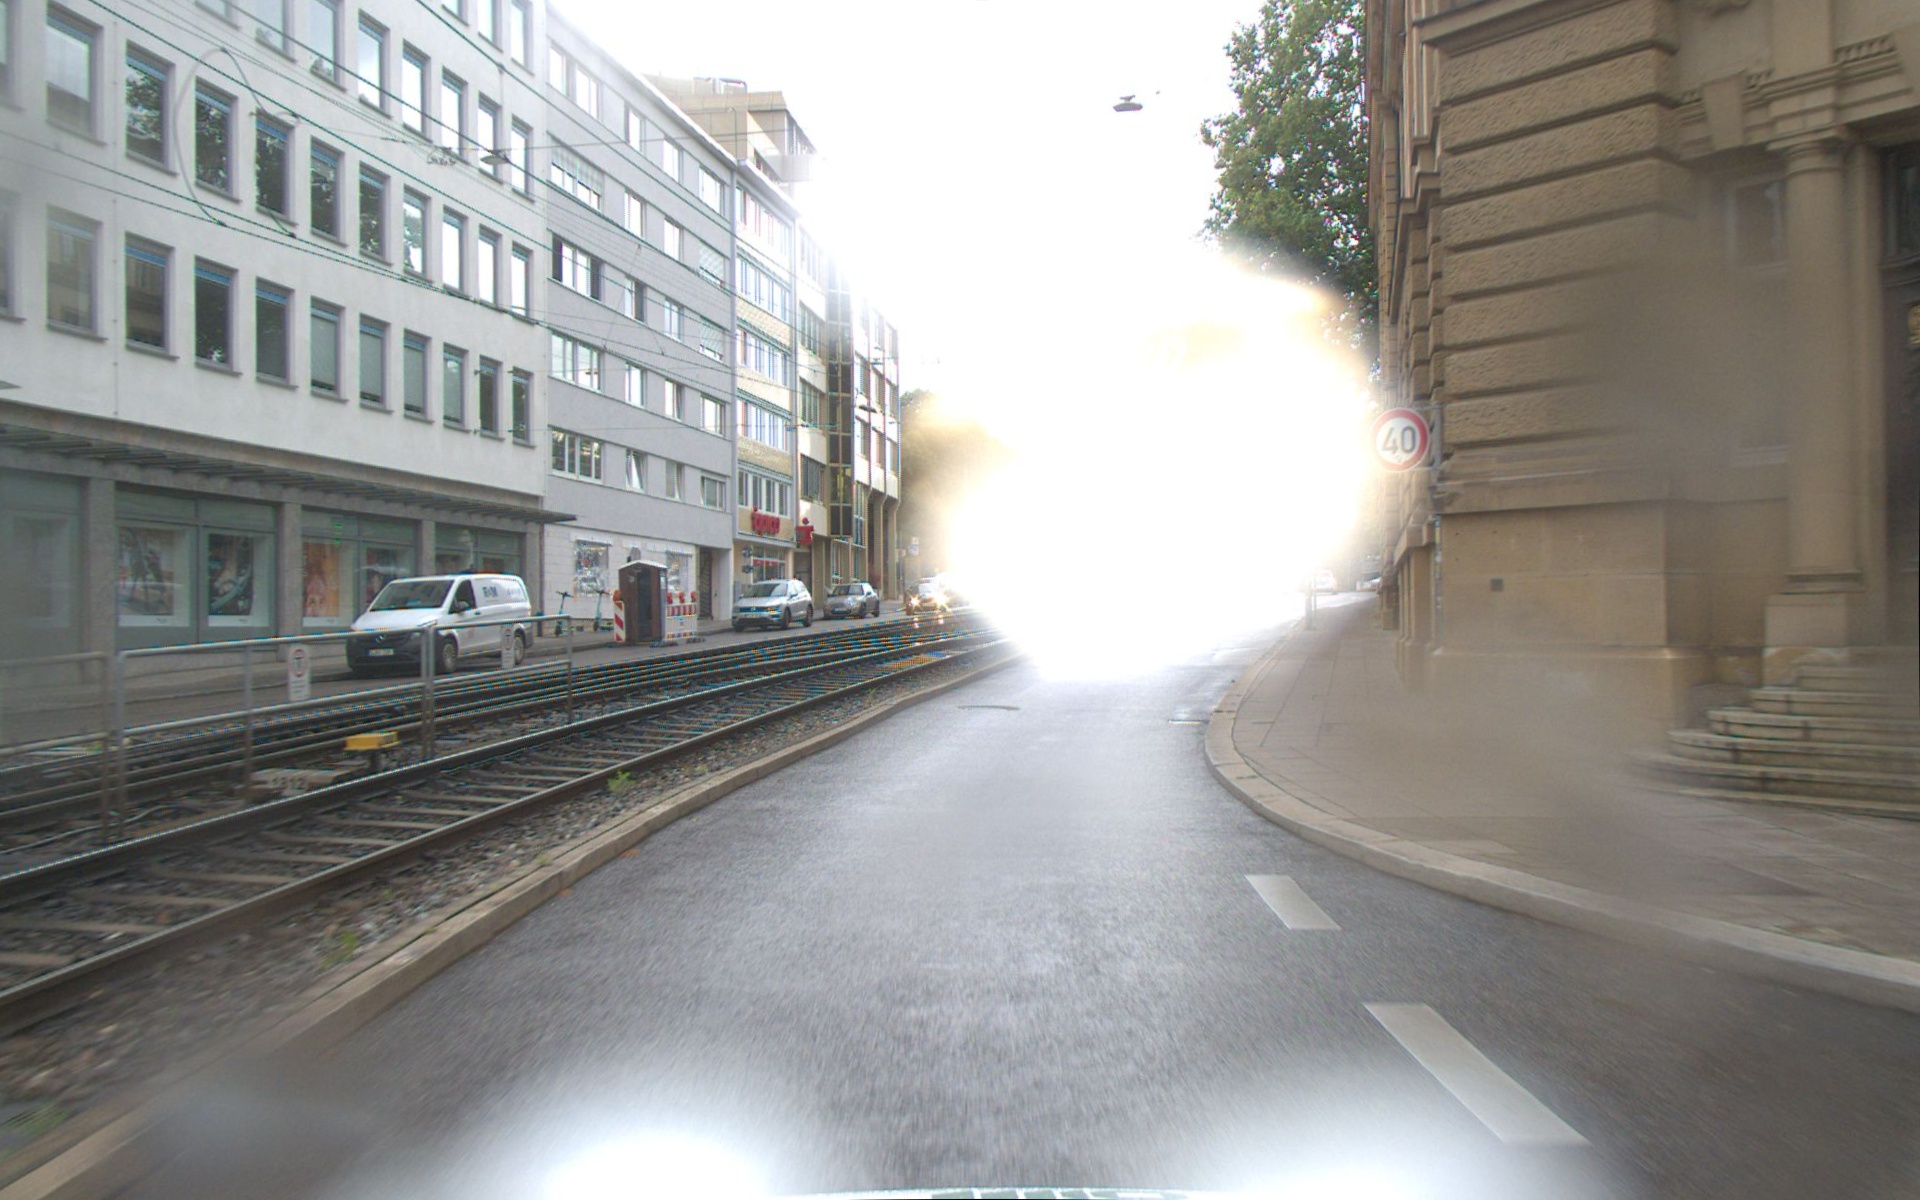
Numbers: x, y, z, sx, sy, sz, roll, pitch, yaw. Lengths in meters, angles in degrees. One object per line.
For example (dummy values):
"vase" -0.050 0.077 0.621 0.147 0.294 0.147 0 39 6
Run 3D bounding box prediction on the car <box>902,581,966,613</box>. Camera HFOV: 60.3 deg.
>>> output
"car" -1.075 -0.114 70.162 1.951 1.277 4.699 -2 -1 8

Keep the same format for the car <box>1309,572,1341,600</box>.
"car" 22.529 -0.877 102.003 1.643 1.604 4.256 -1 0 16

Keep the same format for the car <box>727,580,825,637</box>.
"car" -6.106 0.243 55.525 1.951 1.703 4.700 1 2 11

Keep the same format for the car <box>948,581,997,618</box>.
"car" 0.703 -0.004 89.131 1.951 1.882 4.699 1 0 8

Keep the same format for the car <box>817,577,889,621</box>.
"car" -4.306 -0.016 67.334 1.951 1.703 4.699 1 0 8

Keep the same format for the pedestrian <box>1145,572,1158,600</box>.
"pedestrian" 12.459 -0.891 107.646 0.627 1.819 0.809 1 -1 -7

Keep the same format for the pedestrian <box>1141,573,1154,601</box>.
"pedestrian" 12.296 -0.877 108.533 0.627 1.819 0.808 1 -1 -12

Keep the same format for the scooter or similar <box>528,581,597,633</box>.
"scooter or similar" -11.118 0.203 46.346 0.681 1.398 3.092 1 0 10

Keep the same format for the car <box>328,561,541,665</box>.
"car" -10.290 0.255 32.888 1.951 1.874 5.135 1 0 8

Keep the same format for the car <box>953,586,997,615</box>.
"car" 0.898 0.026 95.388 1.951 1.610 4.553 1 0 8

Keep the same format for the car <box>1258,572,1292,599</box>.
"car" 20.259 -0.927 106.313 1.938 1.668 4.420 1 0 13
